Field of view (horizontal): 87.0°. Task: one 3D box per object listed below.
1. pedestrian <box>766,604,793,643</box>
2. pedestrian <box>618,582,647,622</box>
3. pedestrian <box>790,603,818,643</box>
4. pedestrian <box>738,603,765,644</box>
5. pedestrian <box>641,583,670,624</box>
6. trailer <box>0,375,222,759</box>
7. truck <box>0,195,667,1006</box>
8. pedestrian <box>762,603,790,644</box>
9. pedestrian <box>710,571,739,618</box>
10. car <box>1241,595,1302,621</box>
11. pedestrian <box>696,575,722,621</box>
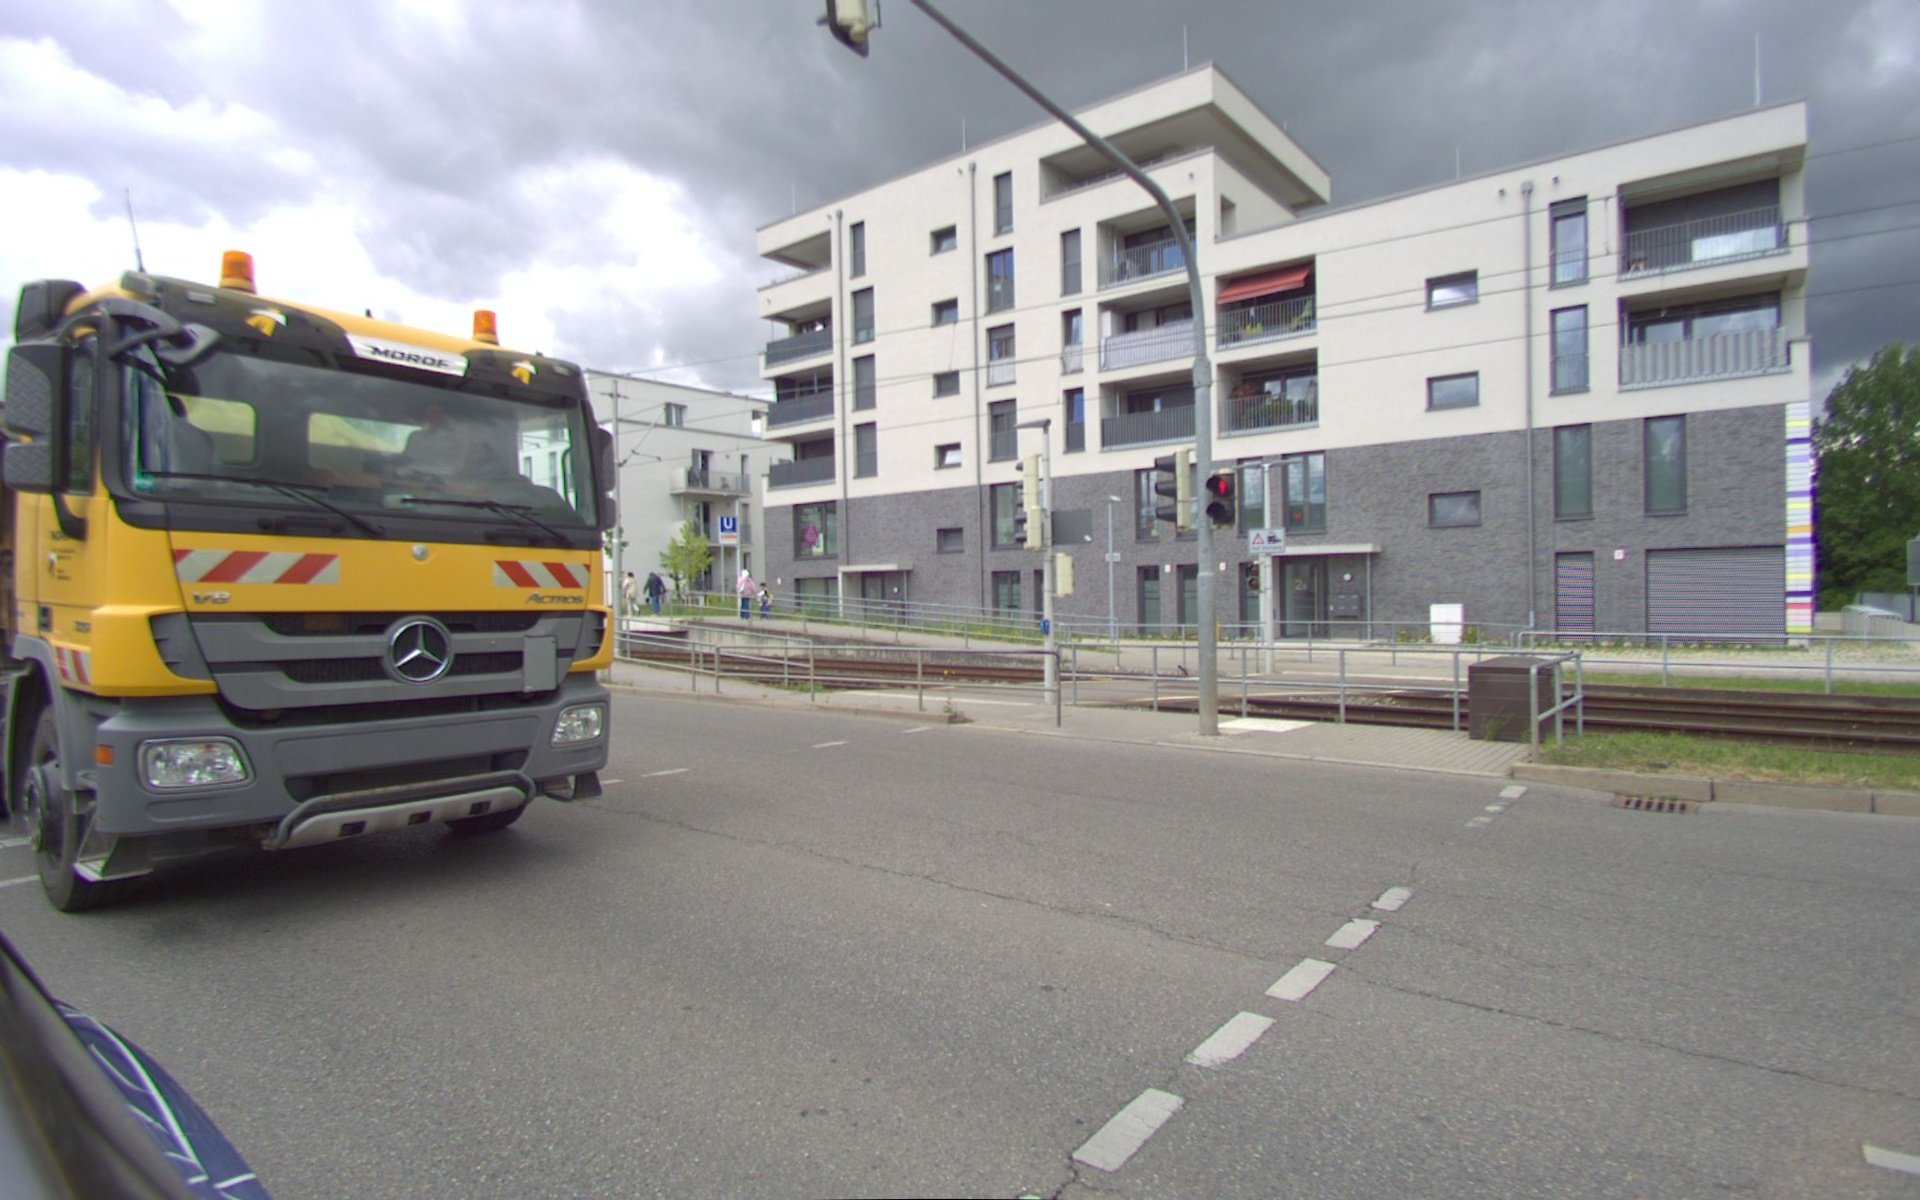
[{"bbox_3d":[-6.637,0.861,37.150,0.670,1.420,0.706,-1,-1,38],"label":"pedestrian"},{"bbox_3d":[-11.607,0.075,35.861,0.670,1.420,0.706,-1,-1,38],"label":"pedestrian"},{"bbox_3d":[-5.529,0.803,35.917,0.670,1.420,0.706,-1,-1,38],"label":"pedestrian"},{"bbox_3d":[-7.466,0.839,36.259,0.670,1.420,0.706,-1,-1,38],"label":"pedestrian"},{"bbox_3d":[-10.741,0.128,35.683,0.670,1.420,0.706,-1,-1,38],"label":"pedestrian"},{"bbox_3d":[-12.921,-0.274,13.000,10.899,3.548,2.681,0,0,38],"label":"trailer"},{"bbox_3d":[-5.595,-0.028,7.249,7.768,3.026,2.694,0,1,38],"label":"truck"},{"bbox_3d":[-6.519,0.825,35.857,0.670,1.420,0.706,-1,-1,38],"label":"pedestrian"},{"bbox_3d":[-8.572,-0.183,36.866,0.764,1.700,0.706,-1,-1,38],"label":"pedestrian"},{"bbox_3d":[18.854,0.469,61.268,1.580,1.513,3.142,0,-1,-44],"label":"car"},{"bbox_3d":[-11.146,-0.094,44.926,0.670,2.029,0.901,-1,-1,38],"label":"pedestrian"}]
